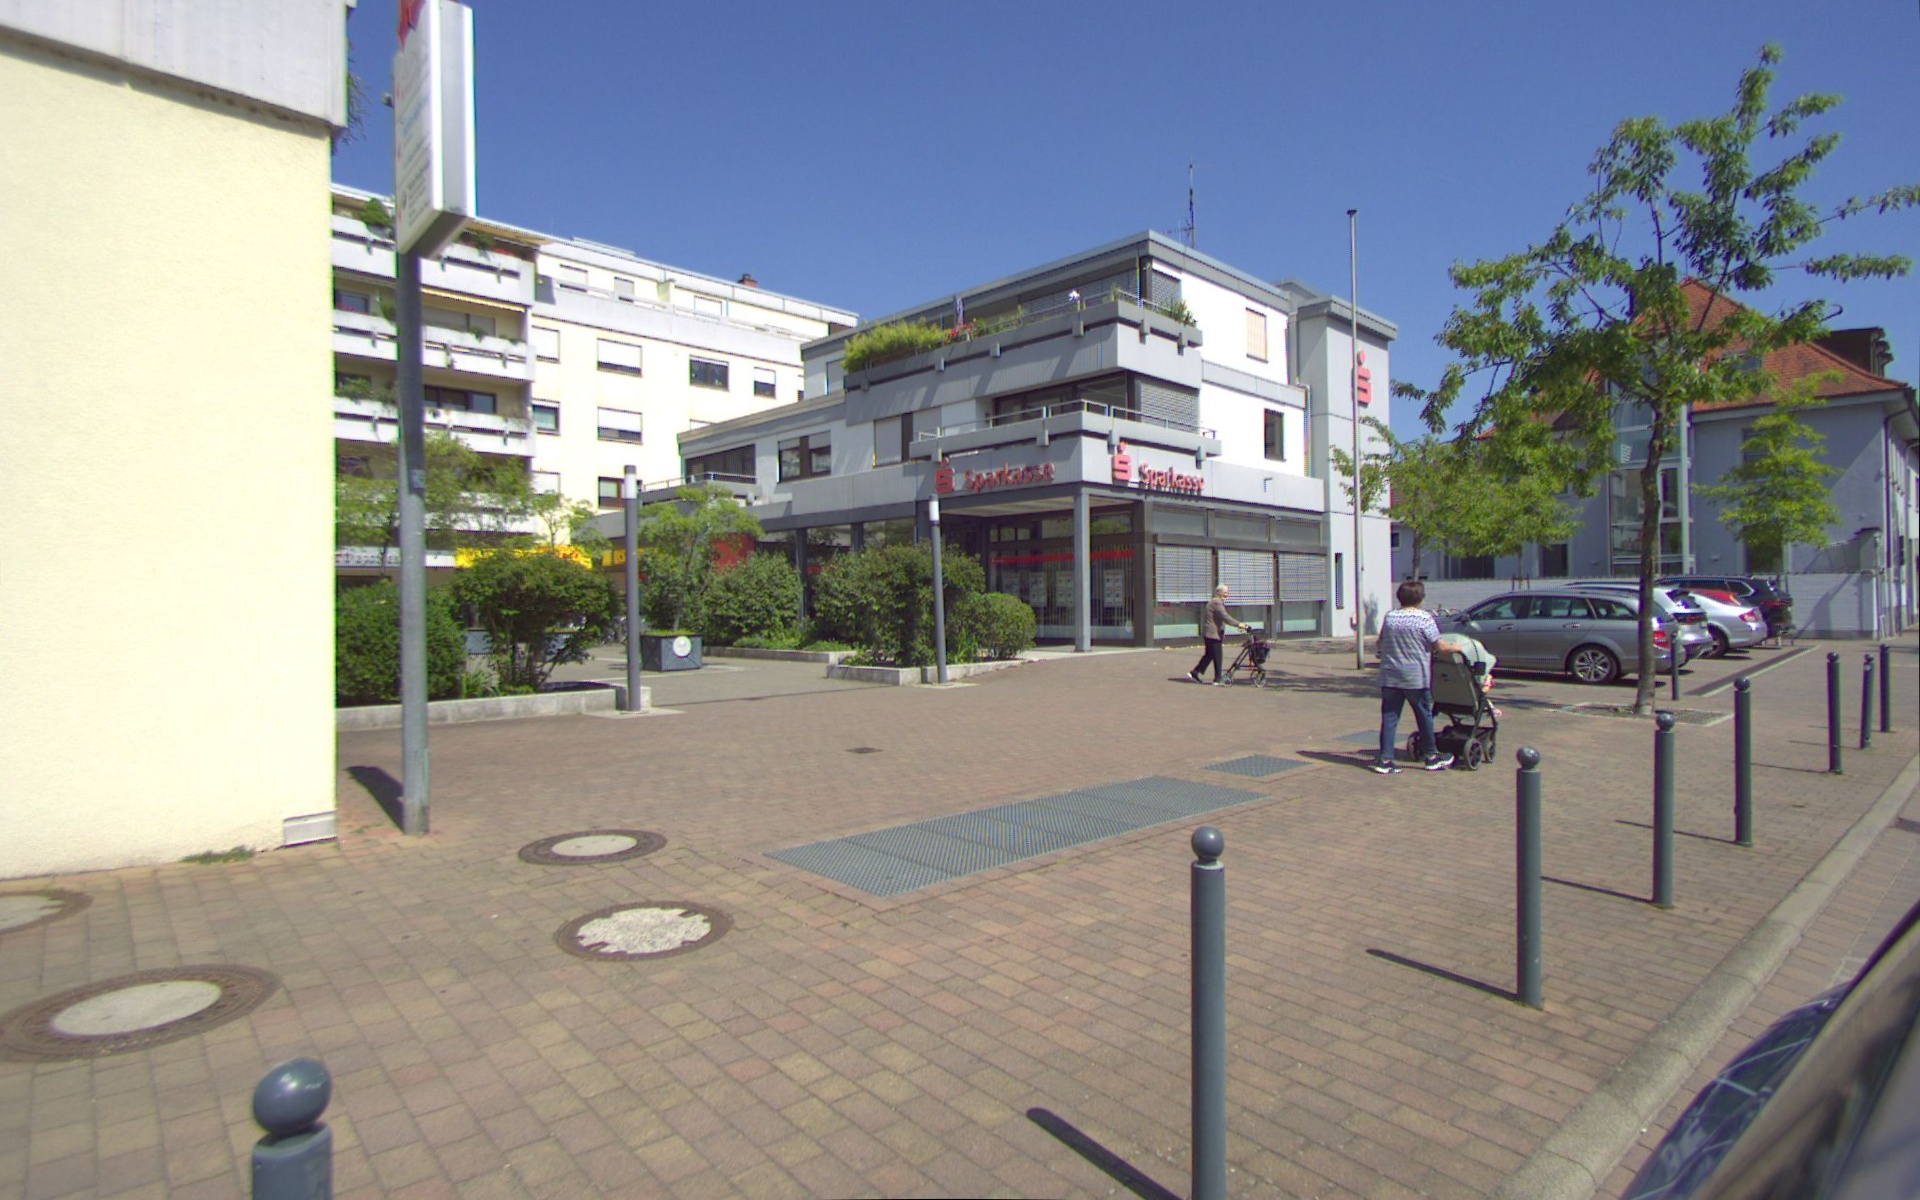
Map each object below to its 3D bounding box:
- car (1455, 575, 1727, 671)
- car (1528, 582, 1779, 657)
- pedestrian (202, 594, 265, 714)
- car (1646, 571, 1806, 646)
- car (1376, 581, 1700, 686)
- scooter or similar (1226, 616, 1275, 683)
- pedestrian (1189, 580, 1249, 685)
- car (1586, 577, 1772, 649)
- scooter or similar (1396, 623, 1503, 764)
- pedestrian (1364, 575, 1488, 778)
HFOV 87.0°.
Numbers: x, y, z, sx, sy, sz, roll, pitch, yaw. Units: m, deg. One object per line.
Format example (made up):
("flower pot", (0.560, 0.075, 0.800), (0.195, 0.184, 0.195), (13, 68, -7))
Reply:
("car", (11.554, 0.336, 18.696), (4.033, 1.579, 1.686), (2, 1, 43))
("car", (15.226, 0.356, 22.386), (4.429, 1.460, 1.632), (1, 1, 42))
("pedestrian", (-9.401, 0.672, 13.088), (0.594, 1.482, 0.794), (0, 0, -40))
("car", (18.960, 0.158, 25.095), (3.032, 1.759, 1.324), (1, 1, 44))
("car", (9.455, 0.445, 16.814), (4.432, 1.484, 1.664), (2, 2, 44))
("scooter or similar", (4.316, 0.727, 15.068), (0.536, 0.958, 0.537), (0, 0, -5))
("pedestrian", (3.836, 0.470, 15.031), (0.709, 1.520, 0.532), (0, 0, -6))
("car", (17.053, 0.272, 24.084), (3.421, 1.571, 1.467), (0, 0, 45))
("scooter or similar", (4.198, 0.767, 8.676), (0.892, 1.133, 0.505), (2, -2, -40))
("pedestrian", (3.791, 0.575, 8.215), (1.030, 1.535, 0.512), (-1, 1, -40))
